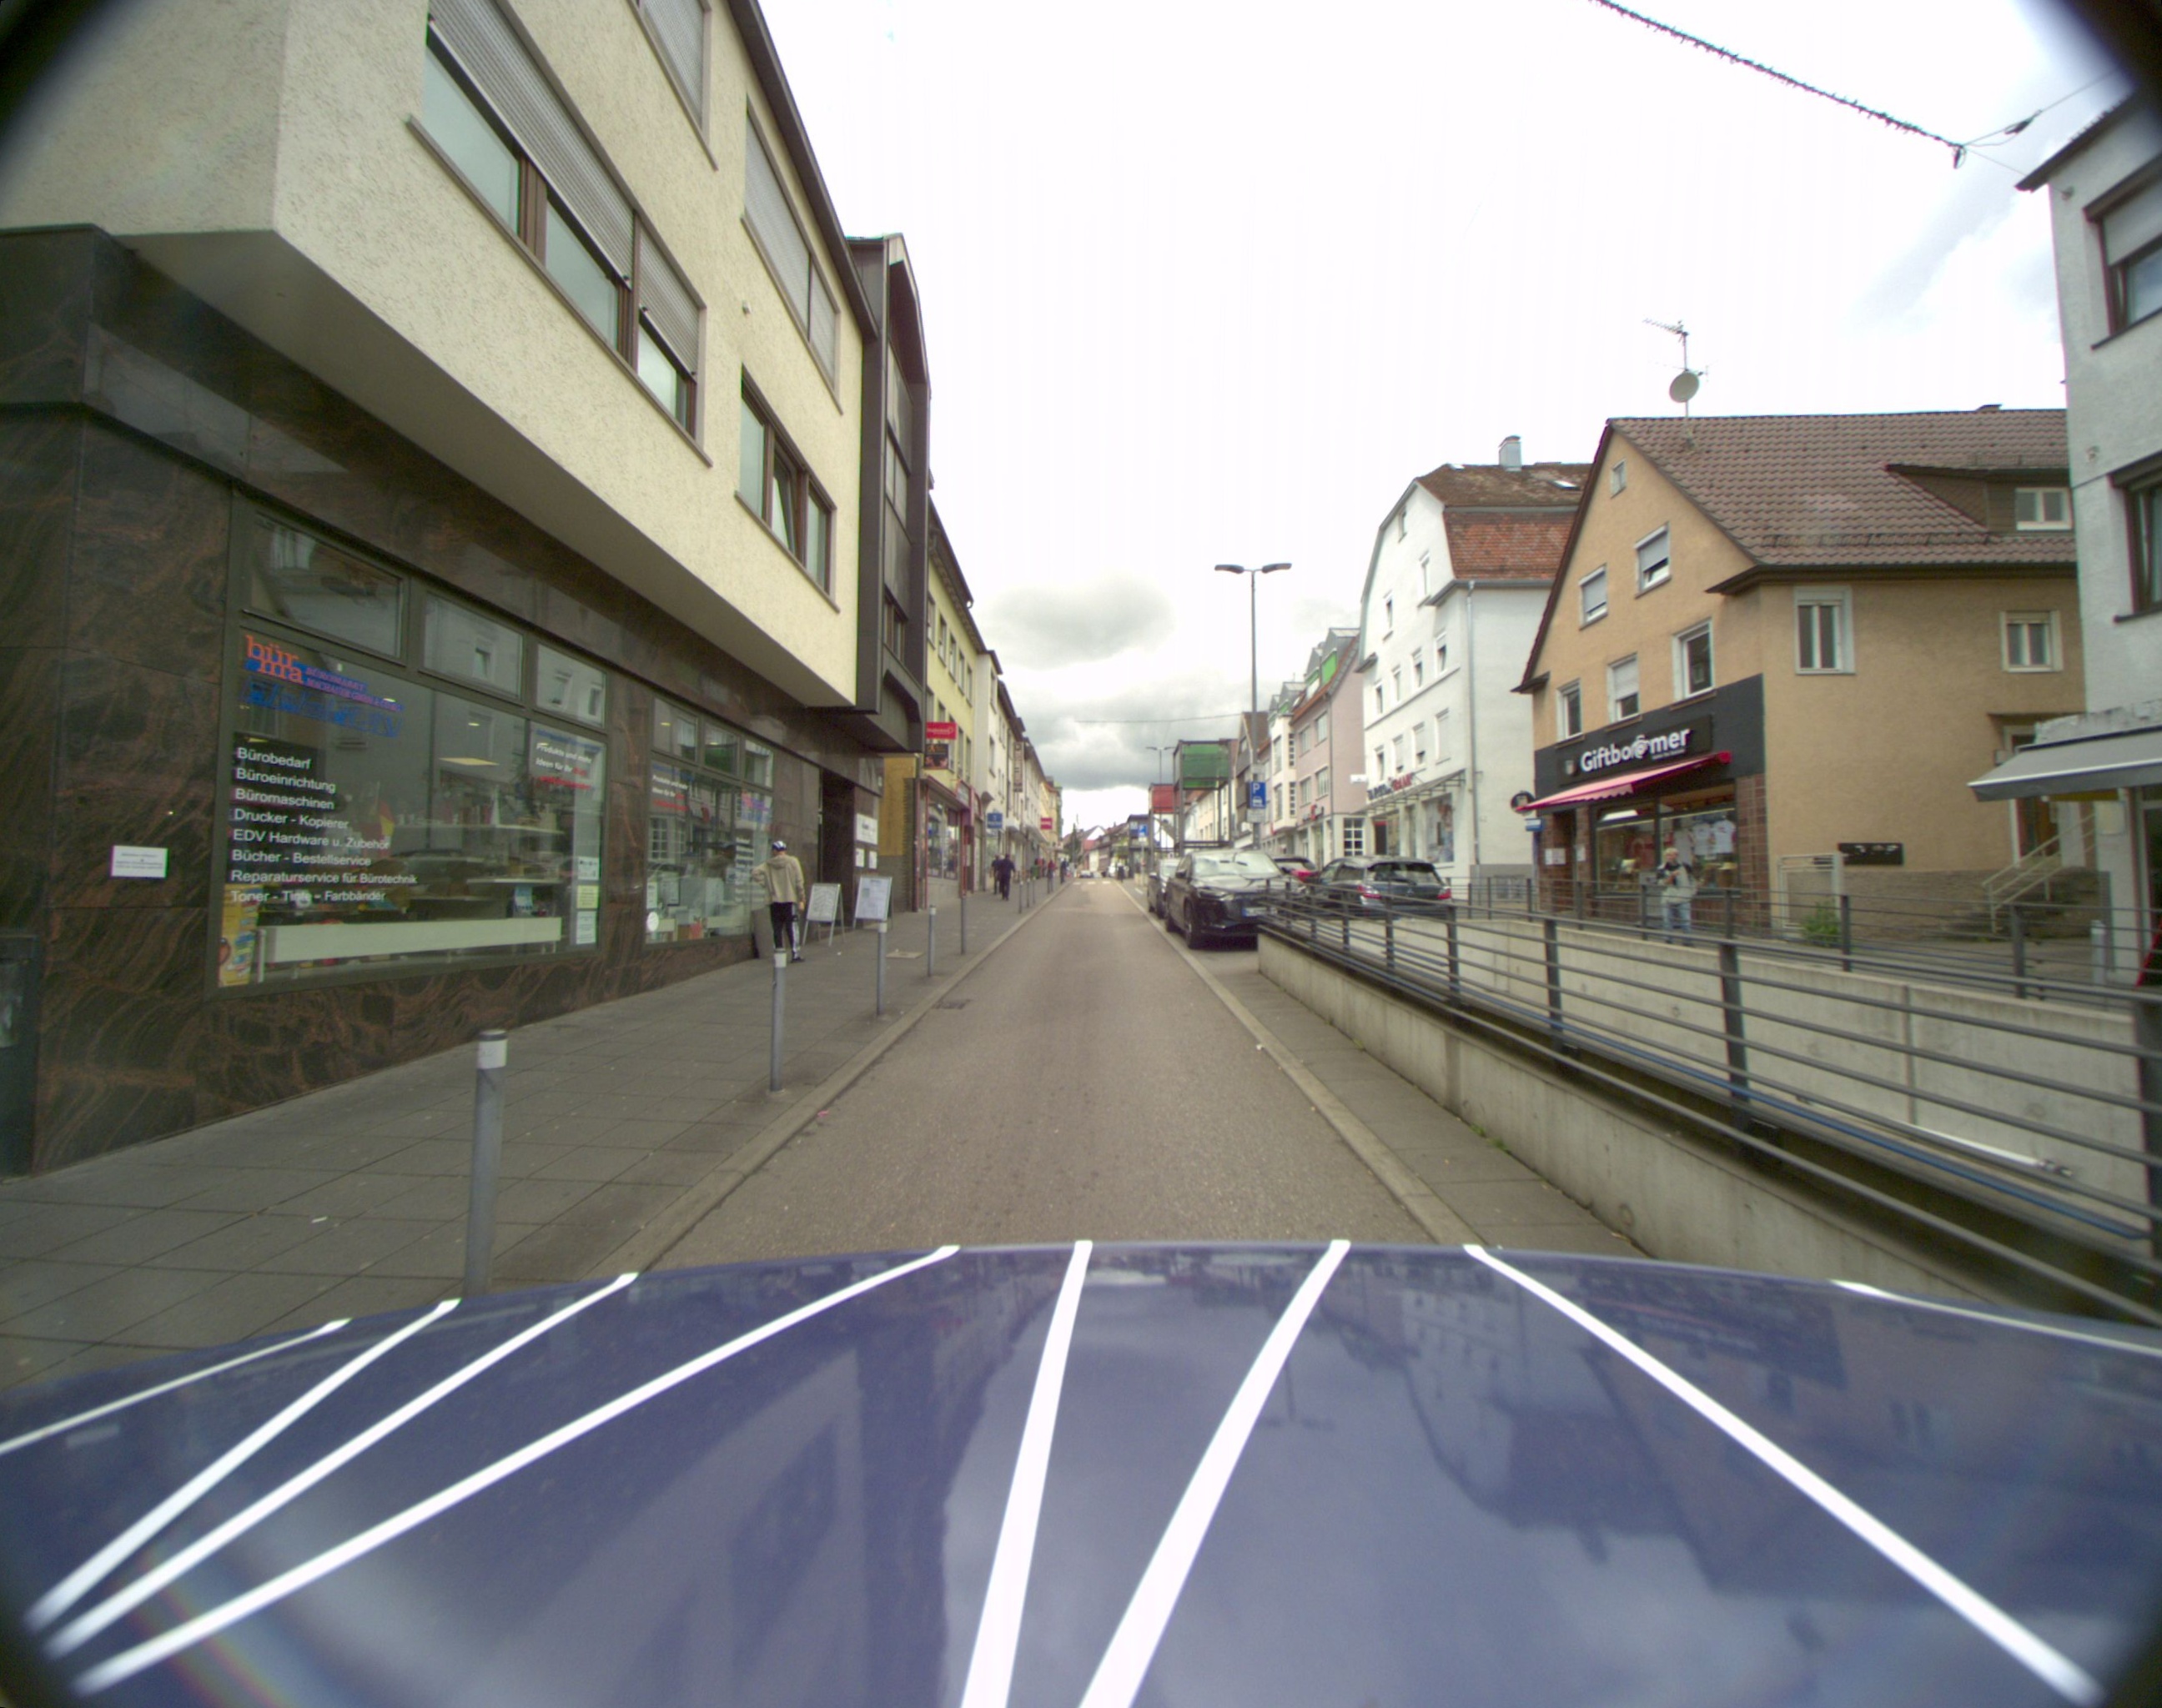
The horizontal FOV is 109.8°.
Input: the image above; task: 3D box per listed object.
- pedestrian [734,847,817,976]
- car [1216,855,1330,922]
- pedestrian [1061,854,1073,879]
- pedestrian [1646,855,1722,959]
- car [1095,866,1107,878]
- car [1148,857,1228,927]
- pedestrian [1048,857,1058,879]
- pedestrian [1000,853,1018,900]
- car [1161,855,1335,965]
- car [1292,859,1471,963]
[{"bbox_3d":[-4.162,0.761,10.403,0.760,1.663,0.780,3,0,-2],"label":"pedestrian"},{"bbox_3d":[5.078,0.846,20.781,1.998,1.580,4.494,-2,0,1],"label":"car"},{"bbox_3d":[-1.017,0.899,54.575,0.761,1.764,0.851,0,1,-6],"label":"pedestrian"},{"bbox_3d":[10.156,0.872,12.821,0.748,1.704,0.664,0,1,1],"label":"pedestrian"},{"bbox_3d":[3.391,3.021,127.325,1.998,2.002,4.000,0,0,1],"label":"car"},{"bbox_3d":[2.658,0.891,19.545,1.577,1.600,3.533,-2,0,1],"label":"car"},{"bbox_3d":[-1.996,1.000,54.101,0.663,1.519,0.705,0,1,-6],"label":"pedestrian"},{"bbox_3d":[-2.615,0.807,27.475,0.639,1.689,0.708,0,1,-5],"label":"pedestrian"},{"bbox_3d":[2.692,0.823,13.377,1.999,1.557,4.431,-1,0,-1],"label":"car"},{"bbox_3d":[5.180,0.894,13.695,1.703,1.538,3.898,-2,0,1],"label":"car"}]
